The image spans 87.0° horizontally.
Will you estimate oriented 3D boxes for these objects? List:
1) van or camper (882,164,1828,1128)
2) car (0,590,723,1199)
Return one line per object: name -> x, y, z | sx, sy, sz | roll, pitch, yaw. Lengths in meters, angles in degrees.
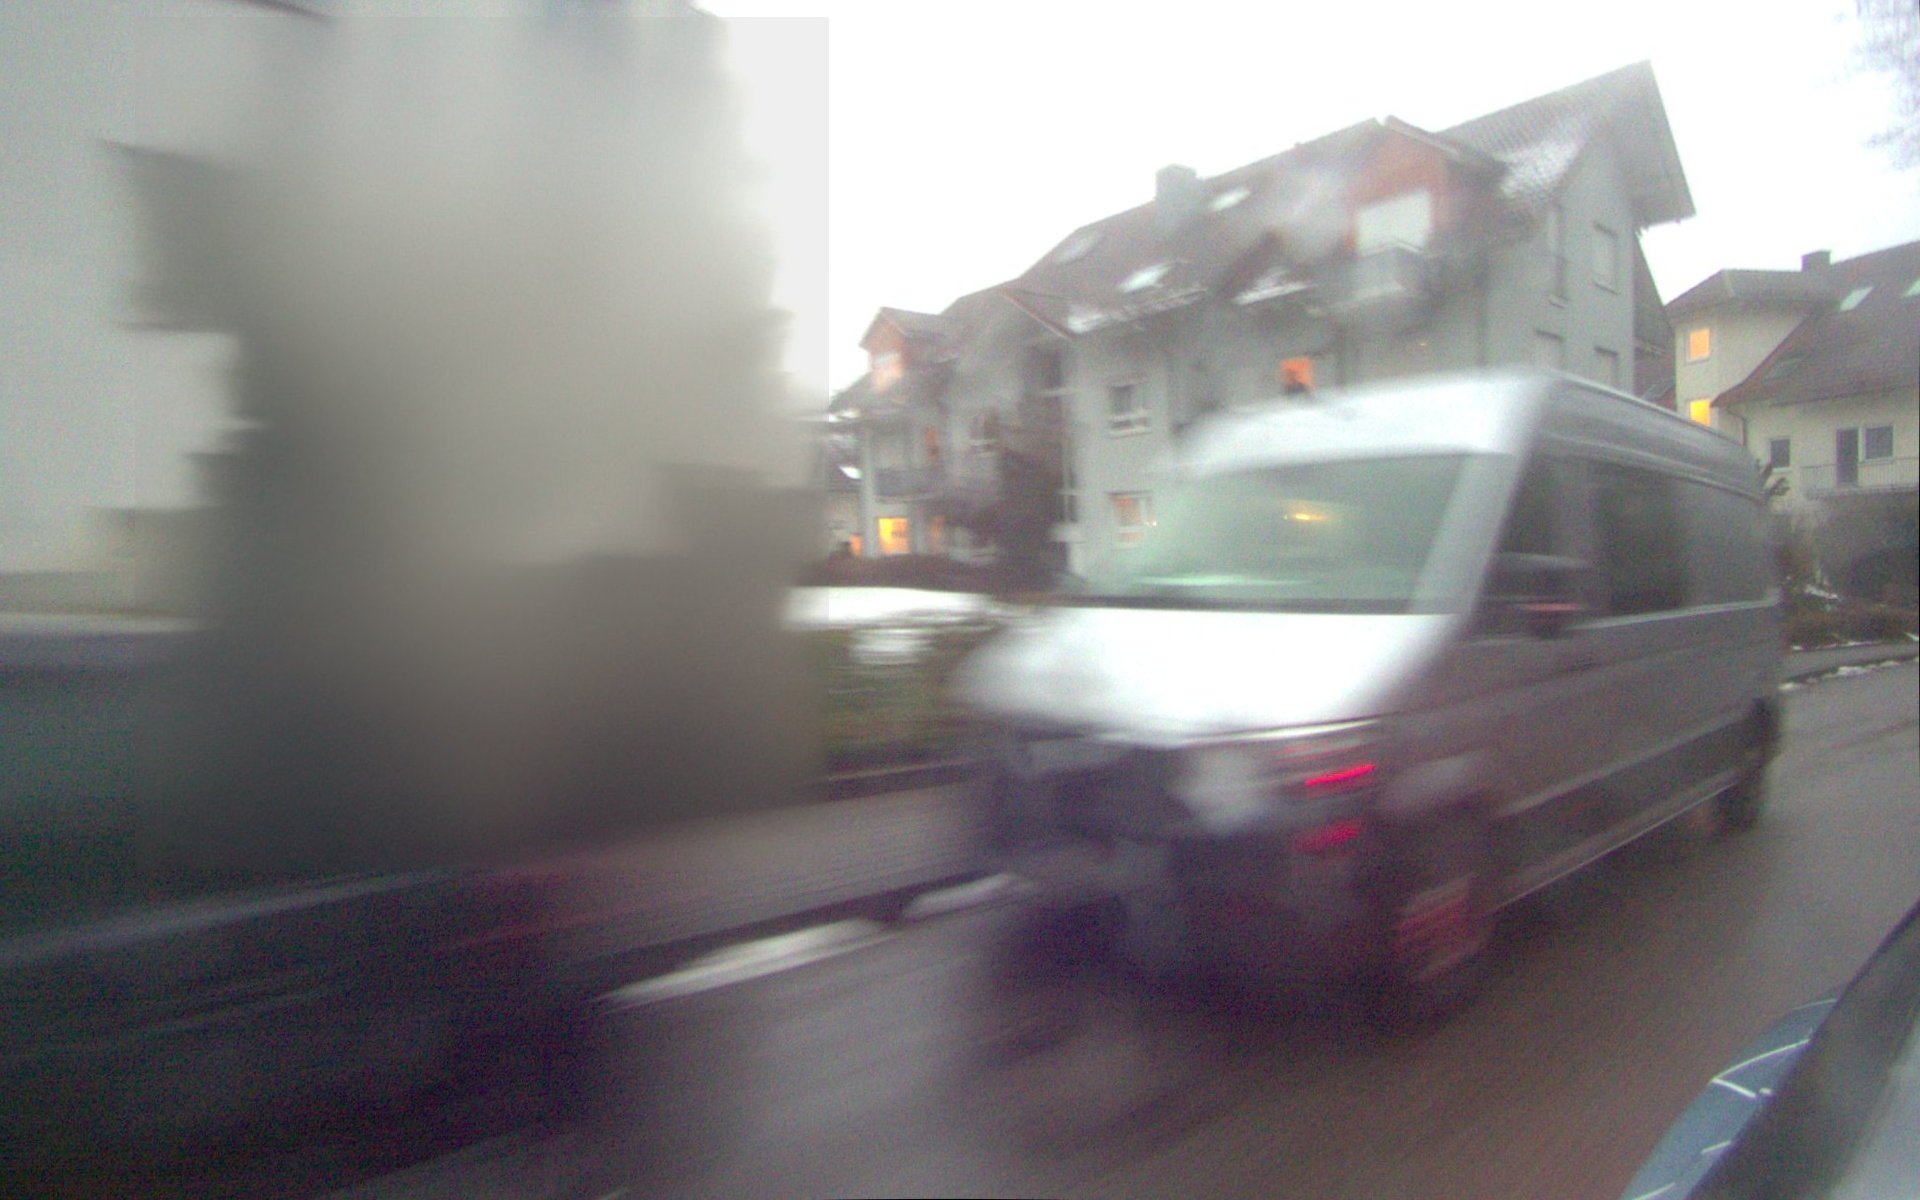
van or camper -> 2.849, 0.073, 5.623 | 6.674, 2.539, 2.018 | -1, 1, -41
car -> -2.532, 0.727, 1.295 | 4.050, 1.407, 1.659 | -1, 2, -40
